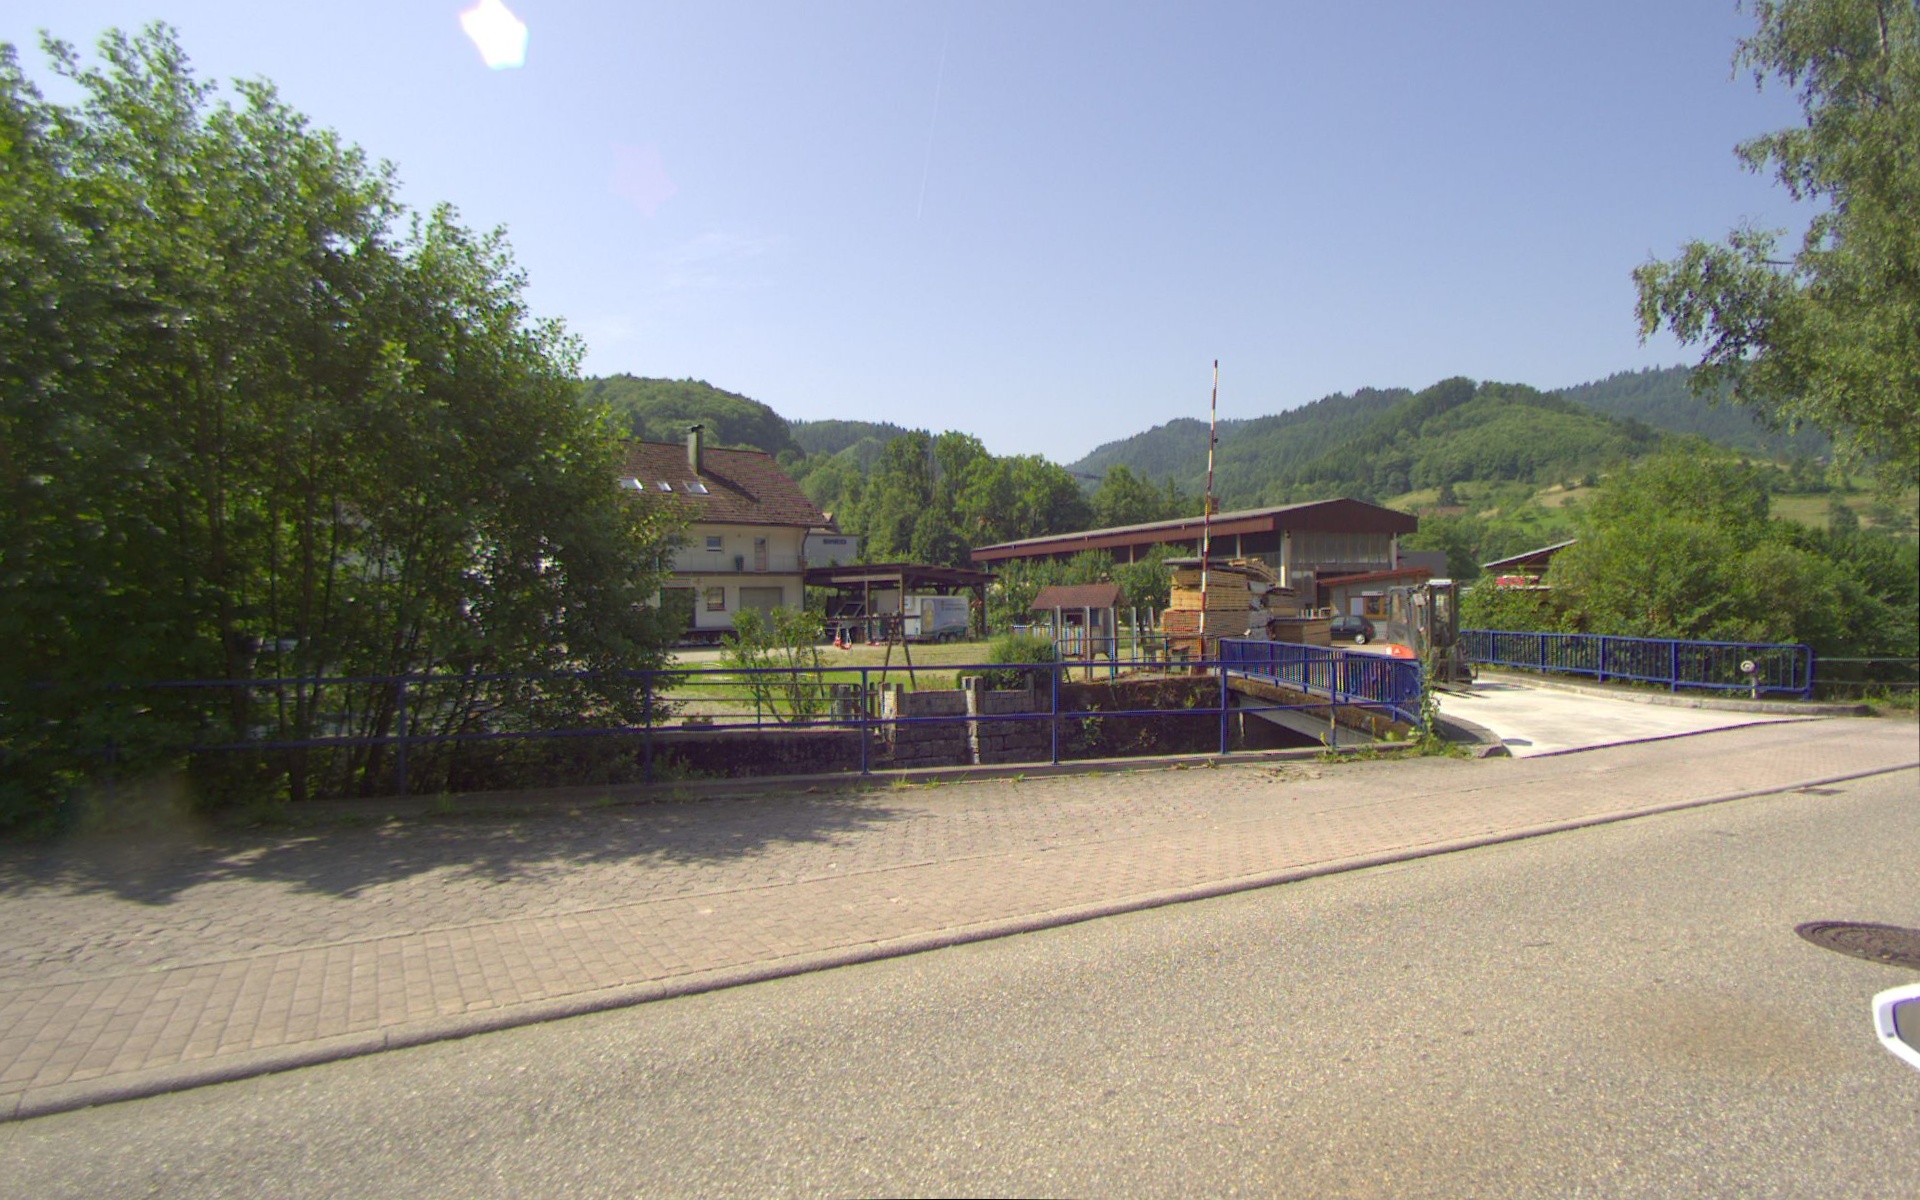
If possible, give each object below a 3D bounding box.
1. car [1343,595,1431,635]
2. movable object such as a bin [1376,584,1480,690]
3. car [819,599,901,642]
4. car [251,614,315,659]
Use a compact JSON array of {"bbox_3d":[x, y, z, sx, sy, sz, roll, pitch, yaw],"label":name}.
[{"bbox_3d":[22.851,0.833,53.905,3.919,2.040,2.002,-1,-2,9],"label":"car"},{"bbox_3d":[9.721,0.764,20.991,1.114,2.099,2.126,0,-1,-2],"label":"movable object such as a bin"},{"bbox_3d":[-5.808,1.190,58.868,1.972,2.408,4.683,1,0,43],"label":"car"},{"bbox_3d":[-28.142,1.481,41.703,1.751,1.699,3.757,1,0,-41],"label":"car"}]
